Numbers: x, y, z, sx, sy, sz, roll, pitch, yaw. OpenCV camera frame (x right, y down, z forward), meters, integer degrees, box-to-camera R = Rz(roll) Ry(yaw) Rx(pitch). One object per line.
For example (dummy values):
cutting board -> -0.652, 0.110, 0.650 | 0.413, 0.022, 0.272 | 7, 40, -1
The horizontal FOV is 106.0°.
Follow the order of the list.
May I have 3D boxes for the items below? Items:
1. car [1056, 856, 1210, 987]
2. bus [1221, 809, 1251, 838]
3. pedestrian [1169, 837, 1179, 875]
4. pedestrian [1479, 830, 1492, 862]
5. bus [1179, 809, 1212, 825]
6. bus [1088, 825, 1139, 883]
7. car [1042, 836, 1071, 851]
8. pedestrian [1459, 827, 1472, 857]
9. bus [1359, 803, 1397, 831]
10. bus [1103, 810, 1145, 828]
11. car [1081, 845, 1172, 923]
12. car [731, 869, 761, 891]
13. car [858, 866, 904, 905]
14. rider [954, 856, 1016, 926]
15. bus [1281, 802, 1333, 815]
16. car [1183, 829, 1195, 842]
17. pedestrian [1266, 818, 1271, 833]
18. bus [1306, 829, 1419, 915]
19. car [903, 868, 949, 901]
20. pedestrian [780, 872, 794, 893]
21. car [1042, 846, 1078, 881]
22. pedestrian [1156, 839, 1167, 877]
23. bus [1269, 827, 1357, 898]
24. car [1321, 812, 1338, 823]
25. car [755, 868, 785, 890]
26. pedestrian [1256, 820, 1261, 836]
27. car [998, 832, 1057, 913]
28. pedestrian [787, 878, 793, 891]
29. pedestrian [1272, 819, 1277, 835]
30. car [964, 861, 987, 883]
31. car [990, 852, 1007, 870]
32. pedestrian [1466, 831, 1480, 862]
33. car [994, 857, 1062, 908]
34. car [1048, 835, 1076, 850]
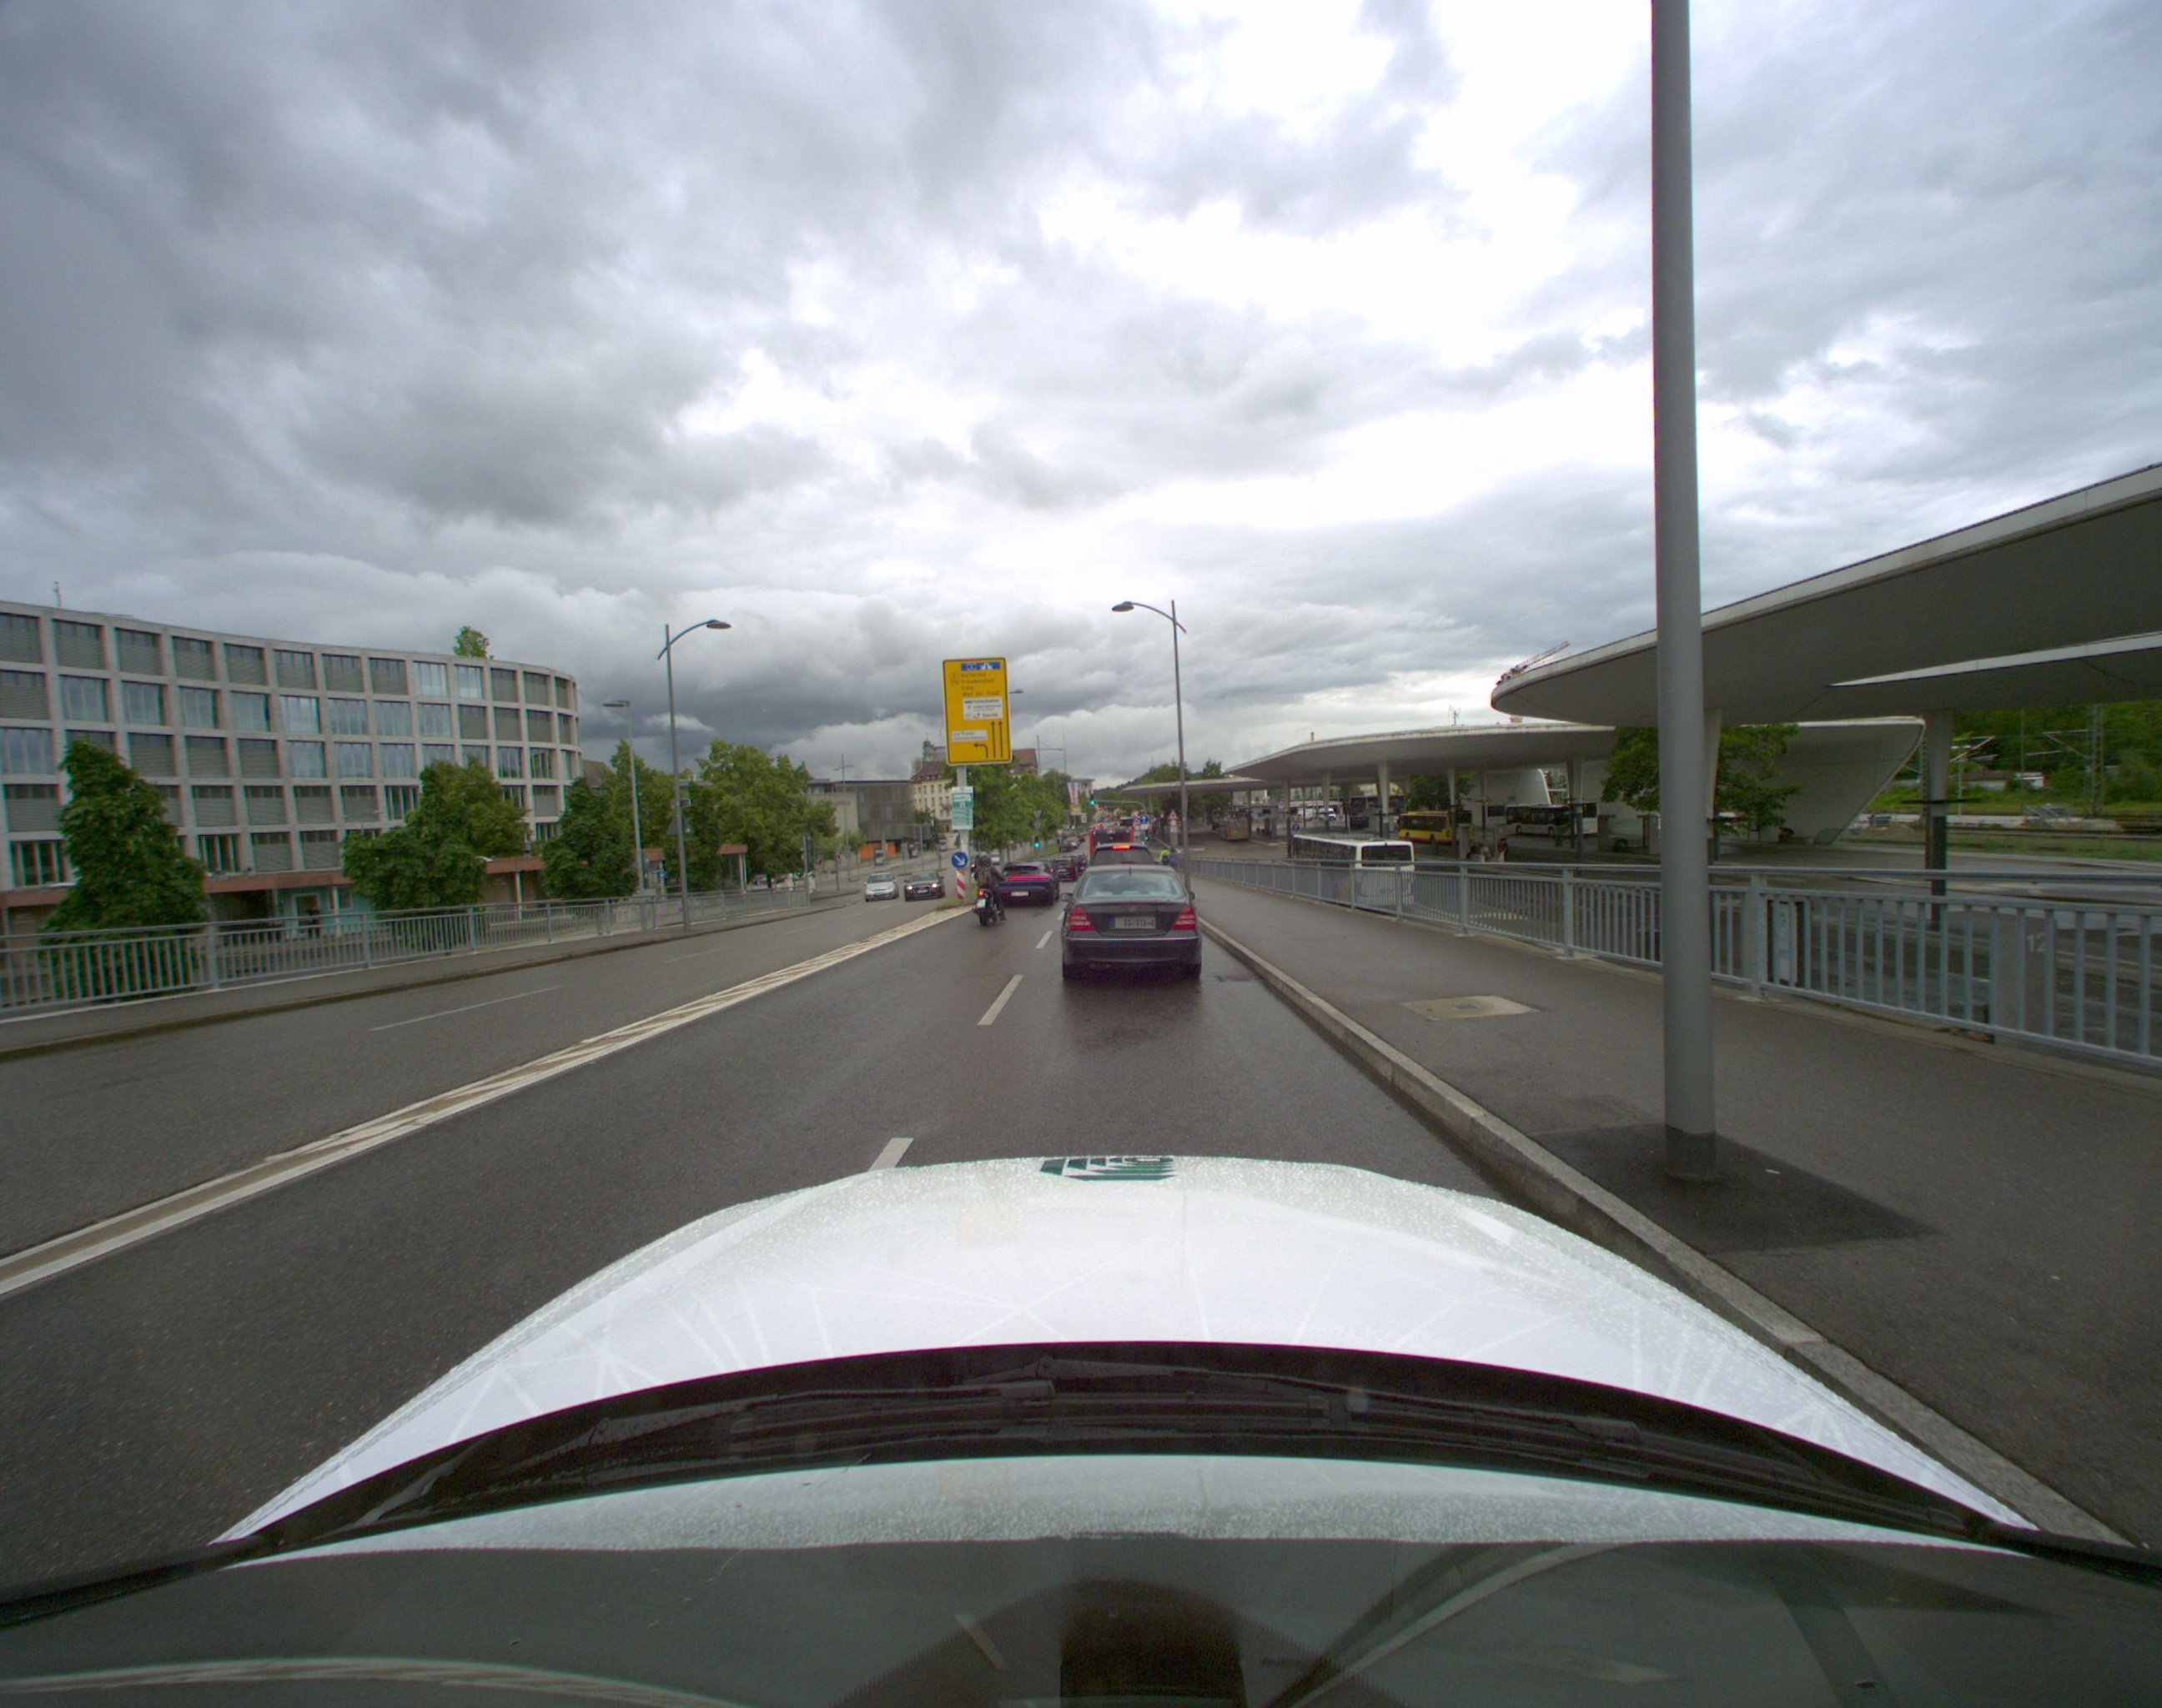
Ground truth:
car -> 0.695, 0.756, 10.882 | 1.698, 1.419, 3.729 | 0, 0, 4
bus -> 21.067, -4.030, 111.483 | 3.162, 3.600, 10.531 | -3, 0, 7
pedestrian -> 5.011, 0.136, 43.727 | 0.422, 2.014, 0.484 | -3, -2, 4
pedestrian -> 26.134, -0.523, 52.645 | 0.558, 2.013, 0.484 | -3, 0, 4
bus -> 26.790, -8.671, 190.366 | 7.179, 3.396, 3.080 | -3, 2, -2
bus -> 2.000, -0.053, 50.913 | 2.816, 3.189, 10.313 | -1, 0, 2
car -> -3.553, -1.532, 118.590 | 3.967, 2.013, 2.004 | -3, 1, 6
pedestrian -> 26.743, -0.825, 56.640 | 0.541, 2.013, 0.580 | -3, 0, 2
bus -> 37.654, -4.694, 103.620 | 2.589, 3.209, 7.002 | -3, 2, 4
bus -> 9.652, -7.911, 185.055 | 3.282, 4.006, 10.774 | -6, 5, -36
car -> 1.226, 0.650, 20.066 | 1.816, 1.687, 4.010 | -1, 1, 9
car -> -33.640, 2.590, 81.724 | 2.008, 2.013, 3.958 | 2, 1, -35
car -> -11.869, 1.825, 48.496 | 1.991, 2.013, 3.992 | -3, 0, -5
rider -> -2.164, 0.812, 18.688 | 0.876, 1.472, 2.201 | -1, 0, 8
bus -> 46.729, -9.434, 168.655 | 10.139, 2.013, 2.169 | -3, 1, -1
car -> 18.178, -3.144, 137.155 | 1.982, 2.013, 4.009 | -3, 1, 8
pedestrian -> 25.715, -3.906, 111.689 | 0.422, 2.013, 0.484 | -3, 0, 4
bus -> 12.889, 0.672, 37.993 | 2.639, 3.235, 7.070 | -3, 4, -1
car -> -7.977, 1.540, 42.184 | 1.830, 1.526, 4.585 | -3, -1, -5
pedestrian -> -20.437, 1.955, 56.644 | 0.645, 1.408, 0.531 | -3, 2, 4
car -> -1.272, 0.555, 50.954 | 1.986, 2.006, 4.001 | -1, 1, 1
pedestrian -> 4.354, 0.229, 43.895 | 0.487, 2.014, 0.470 | -3, -2, 4
bus -> 12.684, 0.296, 45.105 | 2.639, 3.235, 7.070 | -3, 4, -1
car -> 47.736, -7.018, 156.538 | 1.986, 2.013, 4.002 | -3, 2, 2
car -> -31.703, 2.486, 82.948 | 2.008, 2.013, 3.958 | 2, 1, -35
pedestrian -> 23.160, -3.397, 106.123 | 0.422, 2.013, 0.484 | -3, 0, 4
car -> -2.176, 0.845, 34.090 | 1.986, 2.008, 3.998 | -3, -22, 2
pedestrian -> -20.266, 2.103, 56.722 | 0.299, 0.873, 0.299 | -3, 2, 4
pedestrian -> 25.703, -3.568, 108.216 | 0.422, 2.014, 0.484 | -3, -2, 4
car -> -10.646, 1.799, 82.522 | 1.990, 2.014, 4.195 | -3, -1, -5
car -> -10.061, 0.833, 99.543 | 1.990, 2.014, 4.195 | -3, -1, -5
pedestrian -> 26.570, -0.517, 55.187 | 0.541, 2.013, 0.580 | -3, 0, 2
car -> -1.641, 0.881, 26.532 | 1.753, 1.436, 4.003 | -1, 1, 2
car -> -2.897, -1.813, 125.861 | 3.967, 2.013, 2.004 | -3, 1, 6
